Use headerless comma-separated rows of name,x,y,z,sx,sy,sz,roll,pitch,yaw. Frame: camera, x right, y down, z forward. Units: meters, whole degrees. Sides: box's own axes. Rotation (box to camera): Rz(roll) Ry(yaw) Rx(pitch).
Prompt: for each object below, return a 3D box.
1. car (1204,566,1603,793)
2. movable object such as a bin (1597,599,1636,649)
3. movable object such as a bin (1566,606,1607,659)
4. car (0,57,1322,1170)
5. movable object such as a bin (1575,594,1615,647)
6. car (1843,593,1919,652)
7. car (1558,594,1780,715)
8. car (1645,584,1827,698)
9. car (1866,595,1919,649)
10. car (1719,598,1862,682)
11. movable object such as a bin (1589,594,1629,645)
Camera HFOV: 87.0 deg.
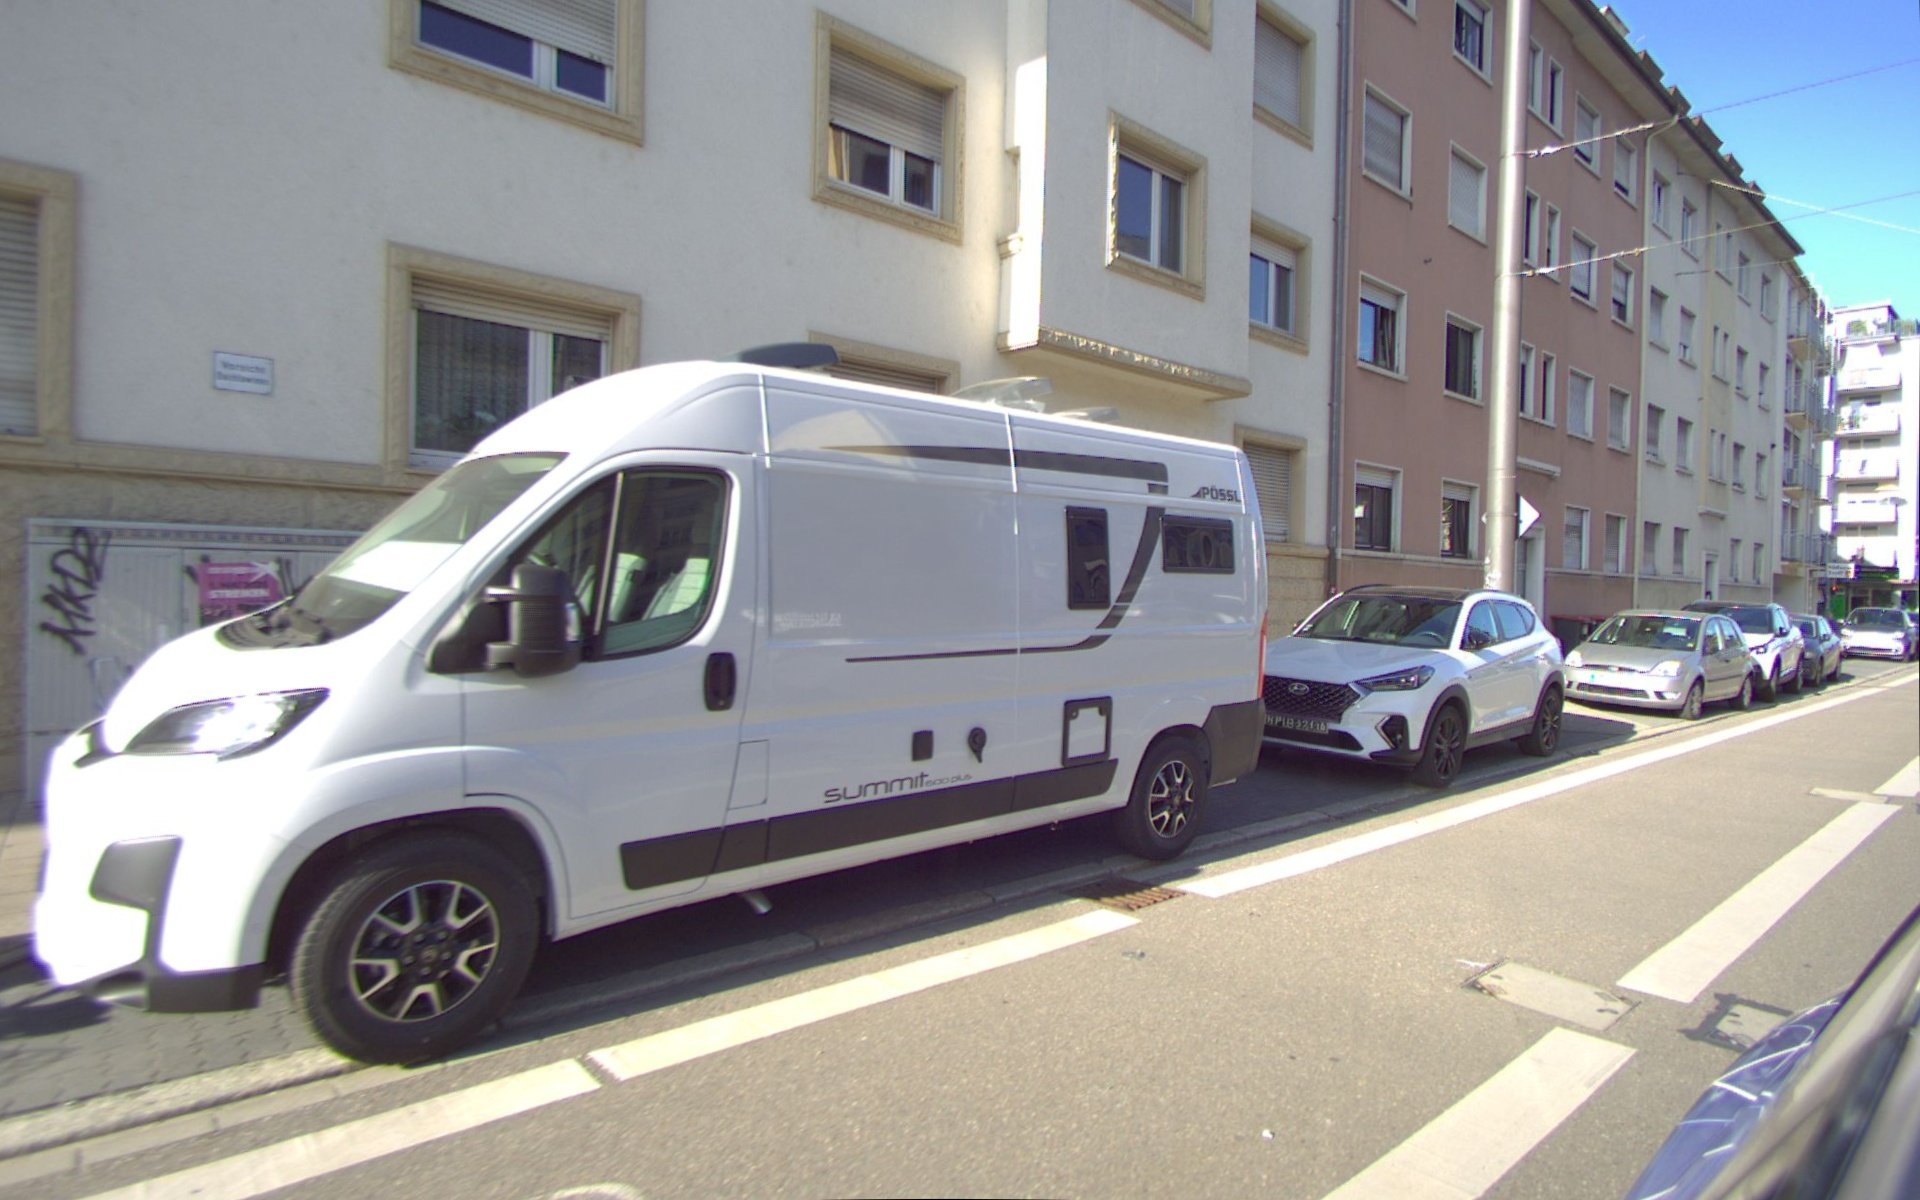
car,4.443,0.575,9.774,4.497,1.657,1.850,0,2,-43
movable object such as a bin,15.302,0.547,23.573,0.553,1.150,0.604,0,-2,-40
movable object such as a bin,13.699,0.702,22.136,0.553,1.150,0.604,0,-2,-40
car,-0.782,-0.010,5.262,6.181,2.729,2.156,0,3,-41
movable object such as a bin,14.222,0.455,22.659,0.553,1.150,0.604,0,-2,-40
car,27.601,0.636,30.060,2.605,1.571,1.761,0,3,-43
car,10.682,0.722,15.162,3.981,1.478,1.626,0,3,-39
car,14.145,0.656,18.351,4.414,1.717,1.805,0,4,-43
car,30.590,0.685,32.459,4.104,1.571,1.821,0,3,-43
car,17.908,0.779,21.768,4.083,1.496,1.749,0,5,-43
movable object such as a bin,14.862,0.454,23.181,0.553,1.150,0.604,0,-2,-40
